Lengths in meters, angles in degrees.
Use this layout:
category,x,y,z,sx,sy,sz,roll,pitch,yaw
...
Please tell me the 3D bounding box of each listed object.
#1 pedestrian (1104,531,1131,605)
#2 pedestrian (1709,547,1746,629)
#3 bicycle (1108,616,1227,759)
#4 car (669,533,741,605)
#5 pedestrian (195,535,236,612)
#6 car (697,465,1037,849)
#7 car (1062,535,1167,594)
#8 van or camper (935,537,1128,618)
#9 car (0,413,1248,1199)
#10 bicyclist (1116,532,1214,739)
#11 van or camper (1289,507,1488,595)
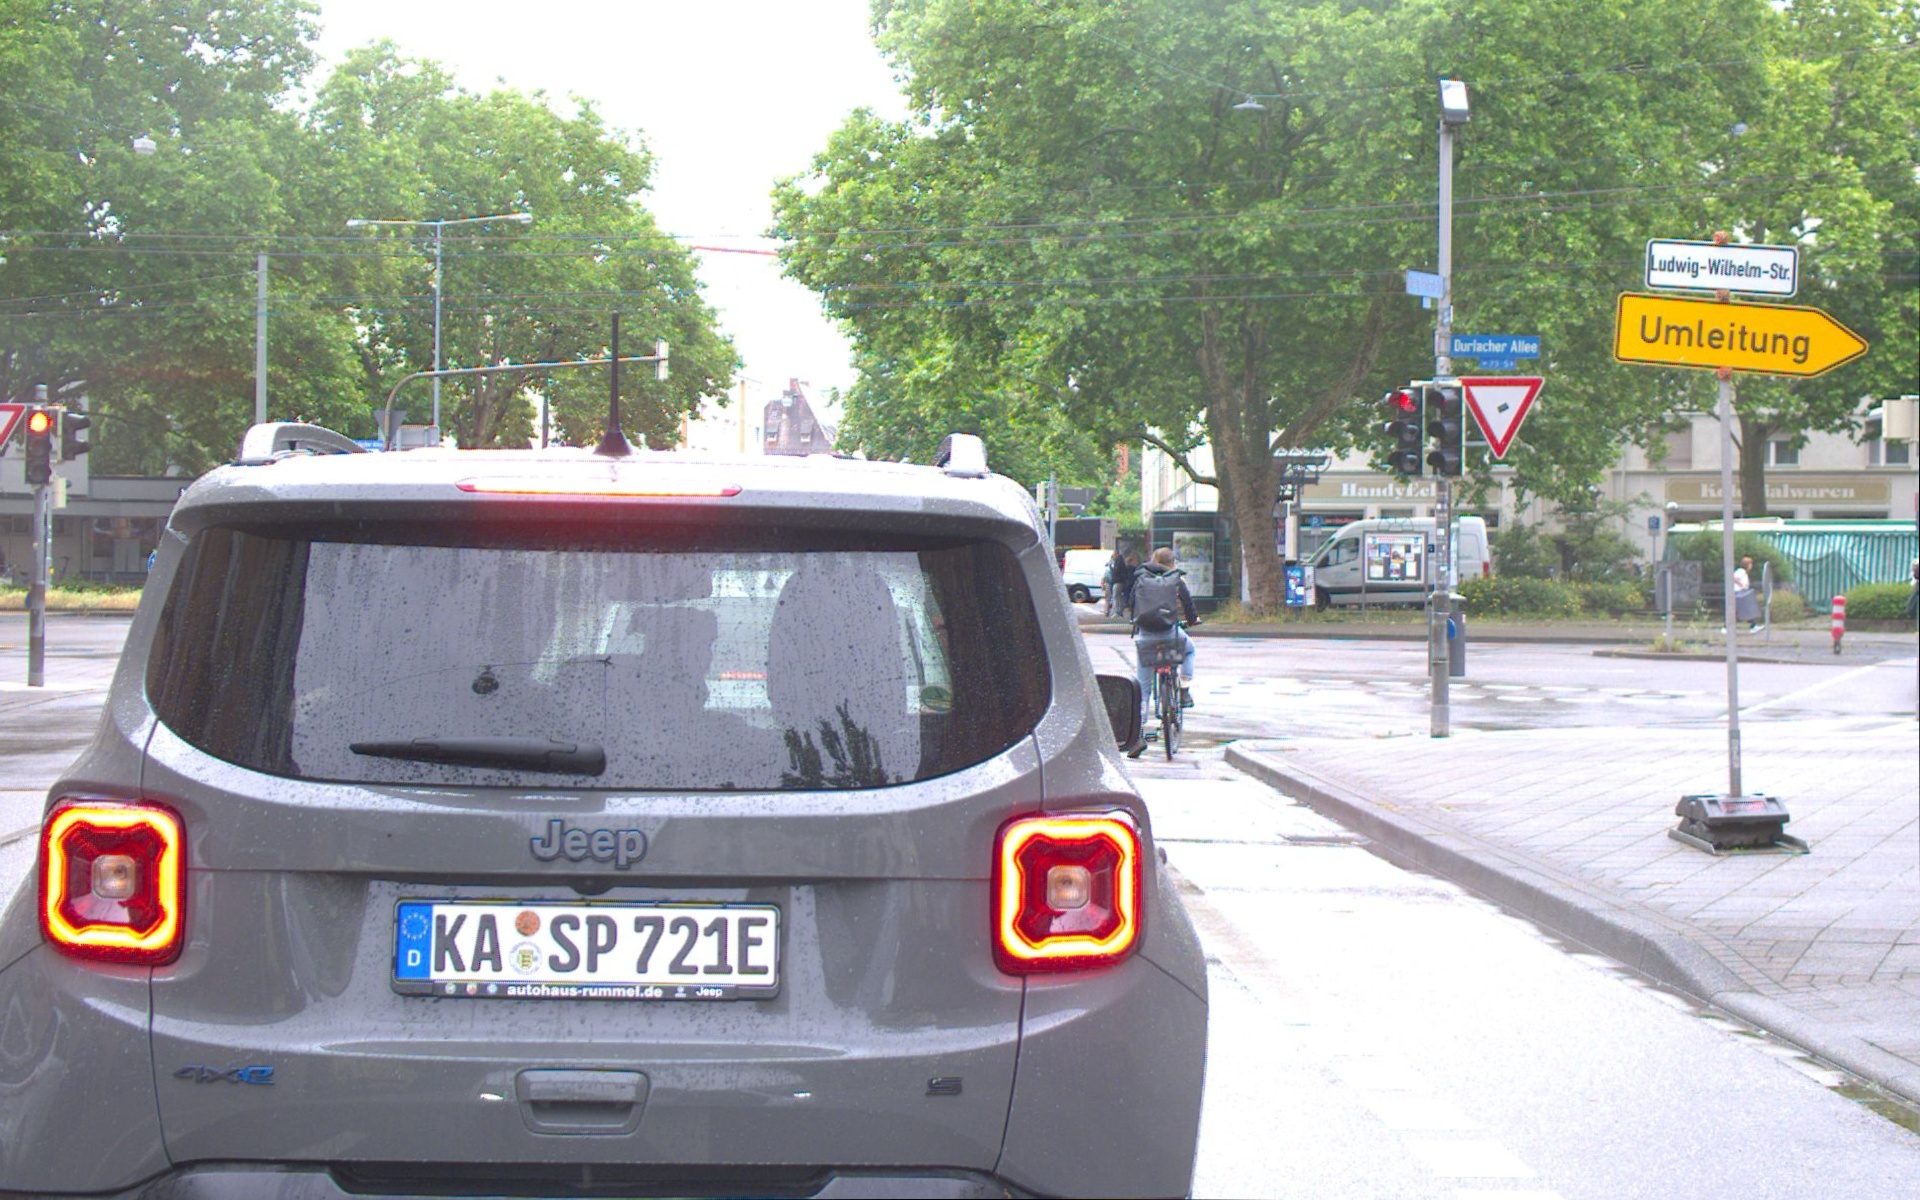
category,x,y,z,sx,sy,sz,roll,pitch,yaw
pedestrian,4.259,-0.870,93.052,0.651,2.007,0.482,1,1,12
pedestrian,15.083,-0.237,67.534,0.613,1.598,0.493,0,1,24
bicycle,1.630,0.672,27.402,0.691,1.018,2.658,-1,1,-2
car,-6.283,-0.779,84.593,1.721,1.733,3.730,0,1,-5
pedestrian,-17.638,-0.634,81.464,0.693,1.820,0.620,0,1,24
car,-0.525,0.267,20.033,1.770,2.007,4.000,0,1,-1
car,5.382,-1.223,119.732,3.438,2.007,1.547,0,0,13
van or camper,2.598,-0.845,124.984,6.535,2.902,2.491,1,1,24
car,-0.570,0.571,6.396,1.775,1.681,3.848,-1,1,-2
bicyclist,1.626,0.272,27.396,0.687,1.612,0.884,-1,1,-2
van or camper,11.808,-1.358,95.033,5.260,2.307,2.090,1,1,3
